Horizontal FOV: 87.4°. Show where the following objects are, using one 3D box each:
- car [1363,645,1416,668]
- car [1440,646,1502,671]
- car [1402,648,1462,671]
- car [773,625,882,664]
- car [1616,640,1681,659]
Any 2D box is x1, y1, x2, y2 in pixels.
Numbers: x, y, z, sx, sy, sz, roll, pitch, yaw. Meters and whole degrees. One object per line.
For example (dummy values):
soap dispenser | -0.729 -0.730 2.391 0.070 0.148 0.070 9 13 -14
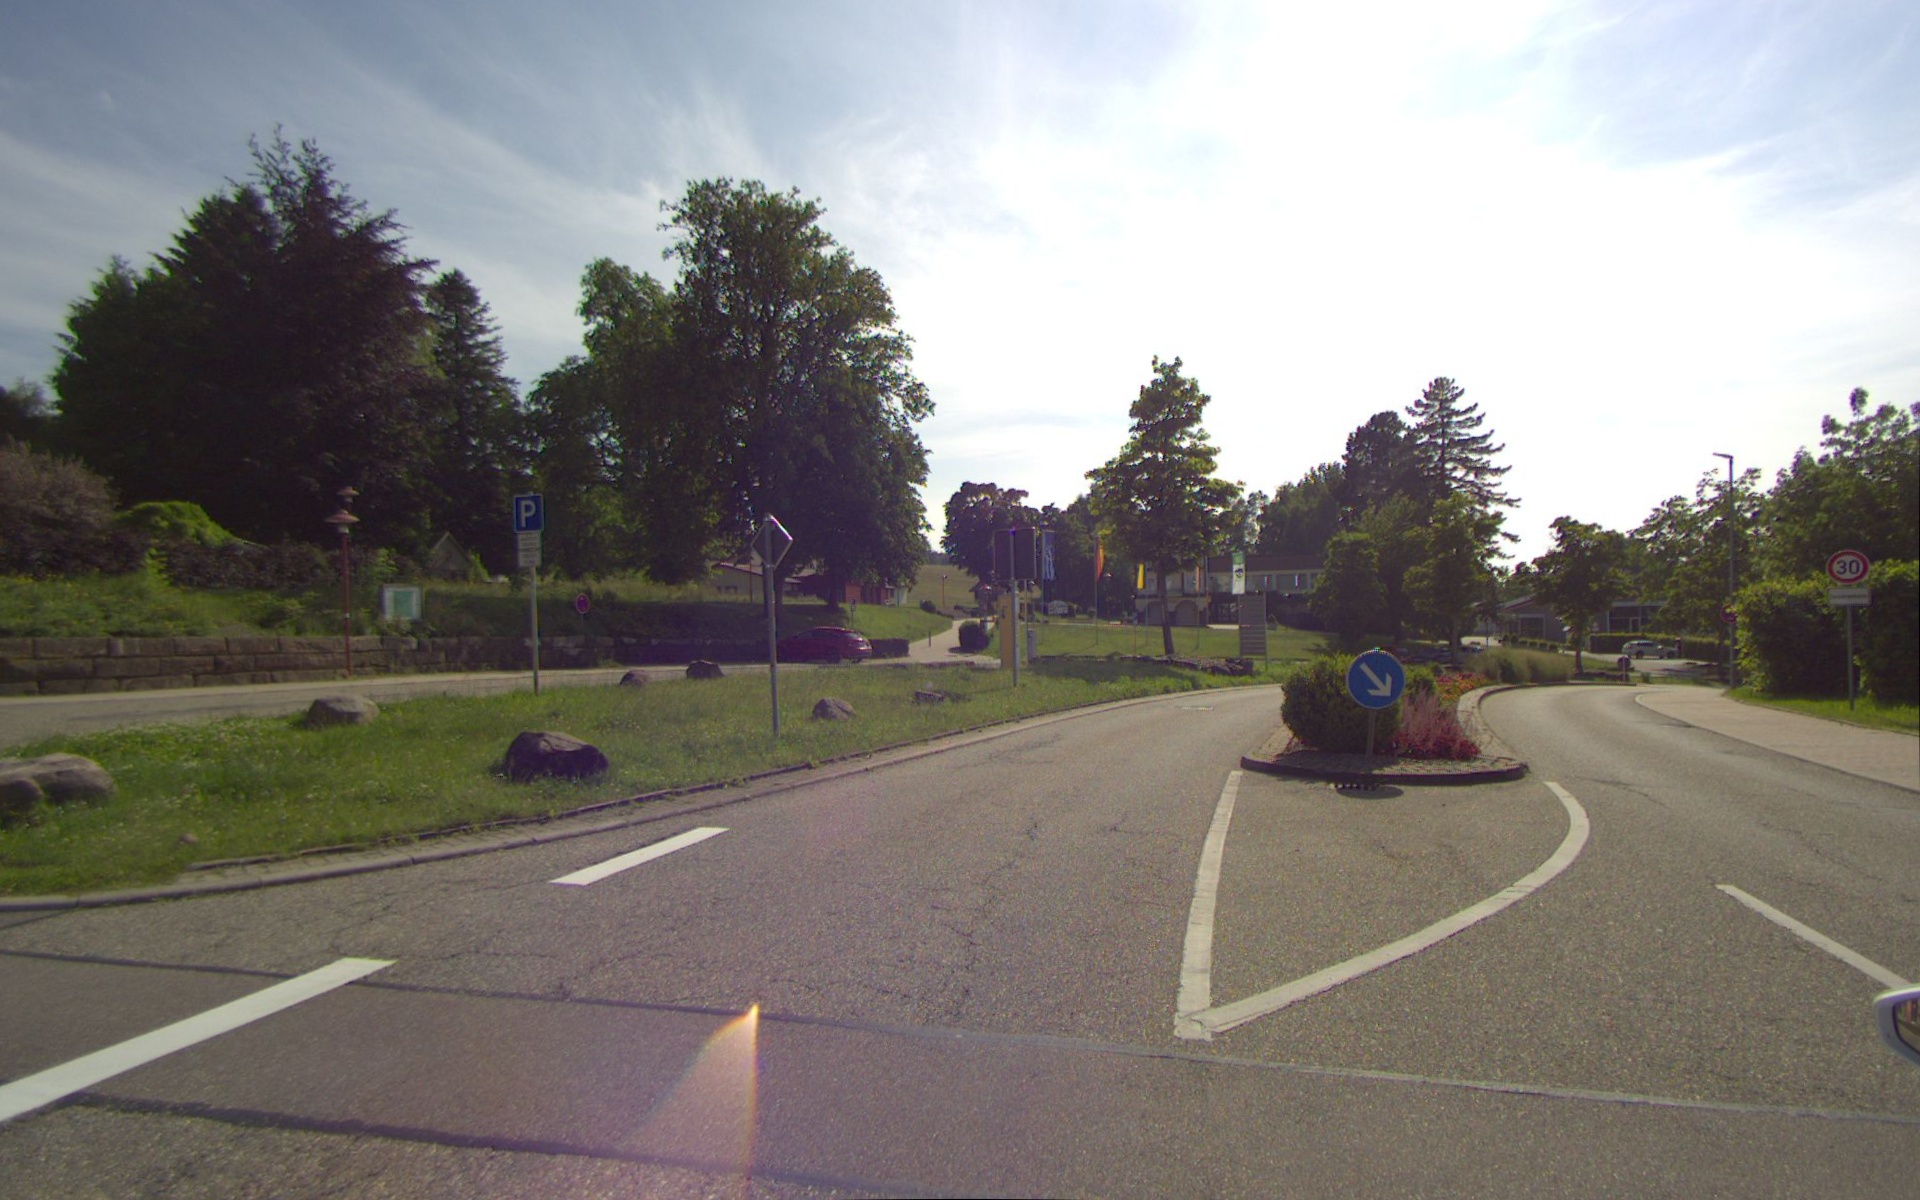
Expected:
car | 31.092 4.071 72.799 1.752 1.490 3.189 3 -1 -24
car | 38.188 4.342 75.168 1.751 1.630 3.920 3 -1 -22
car | 34.518 4.316 73.547 1.751 1.452 3.694 3 -1 -22
car | -5.427 1.792 41.021 4.162 1.417 1.821 0 -2 30
car | 64.540 4.635 94.205 4.634 1.555 2.001 -1 2 11
